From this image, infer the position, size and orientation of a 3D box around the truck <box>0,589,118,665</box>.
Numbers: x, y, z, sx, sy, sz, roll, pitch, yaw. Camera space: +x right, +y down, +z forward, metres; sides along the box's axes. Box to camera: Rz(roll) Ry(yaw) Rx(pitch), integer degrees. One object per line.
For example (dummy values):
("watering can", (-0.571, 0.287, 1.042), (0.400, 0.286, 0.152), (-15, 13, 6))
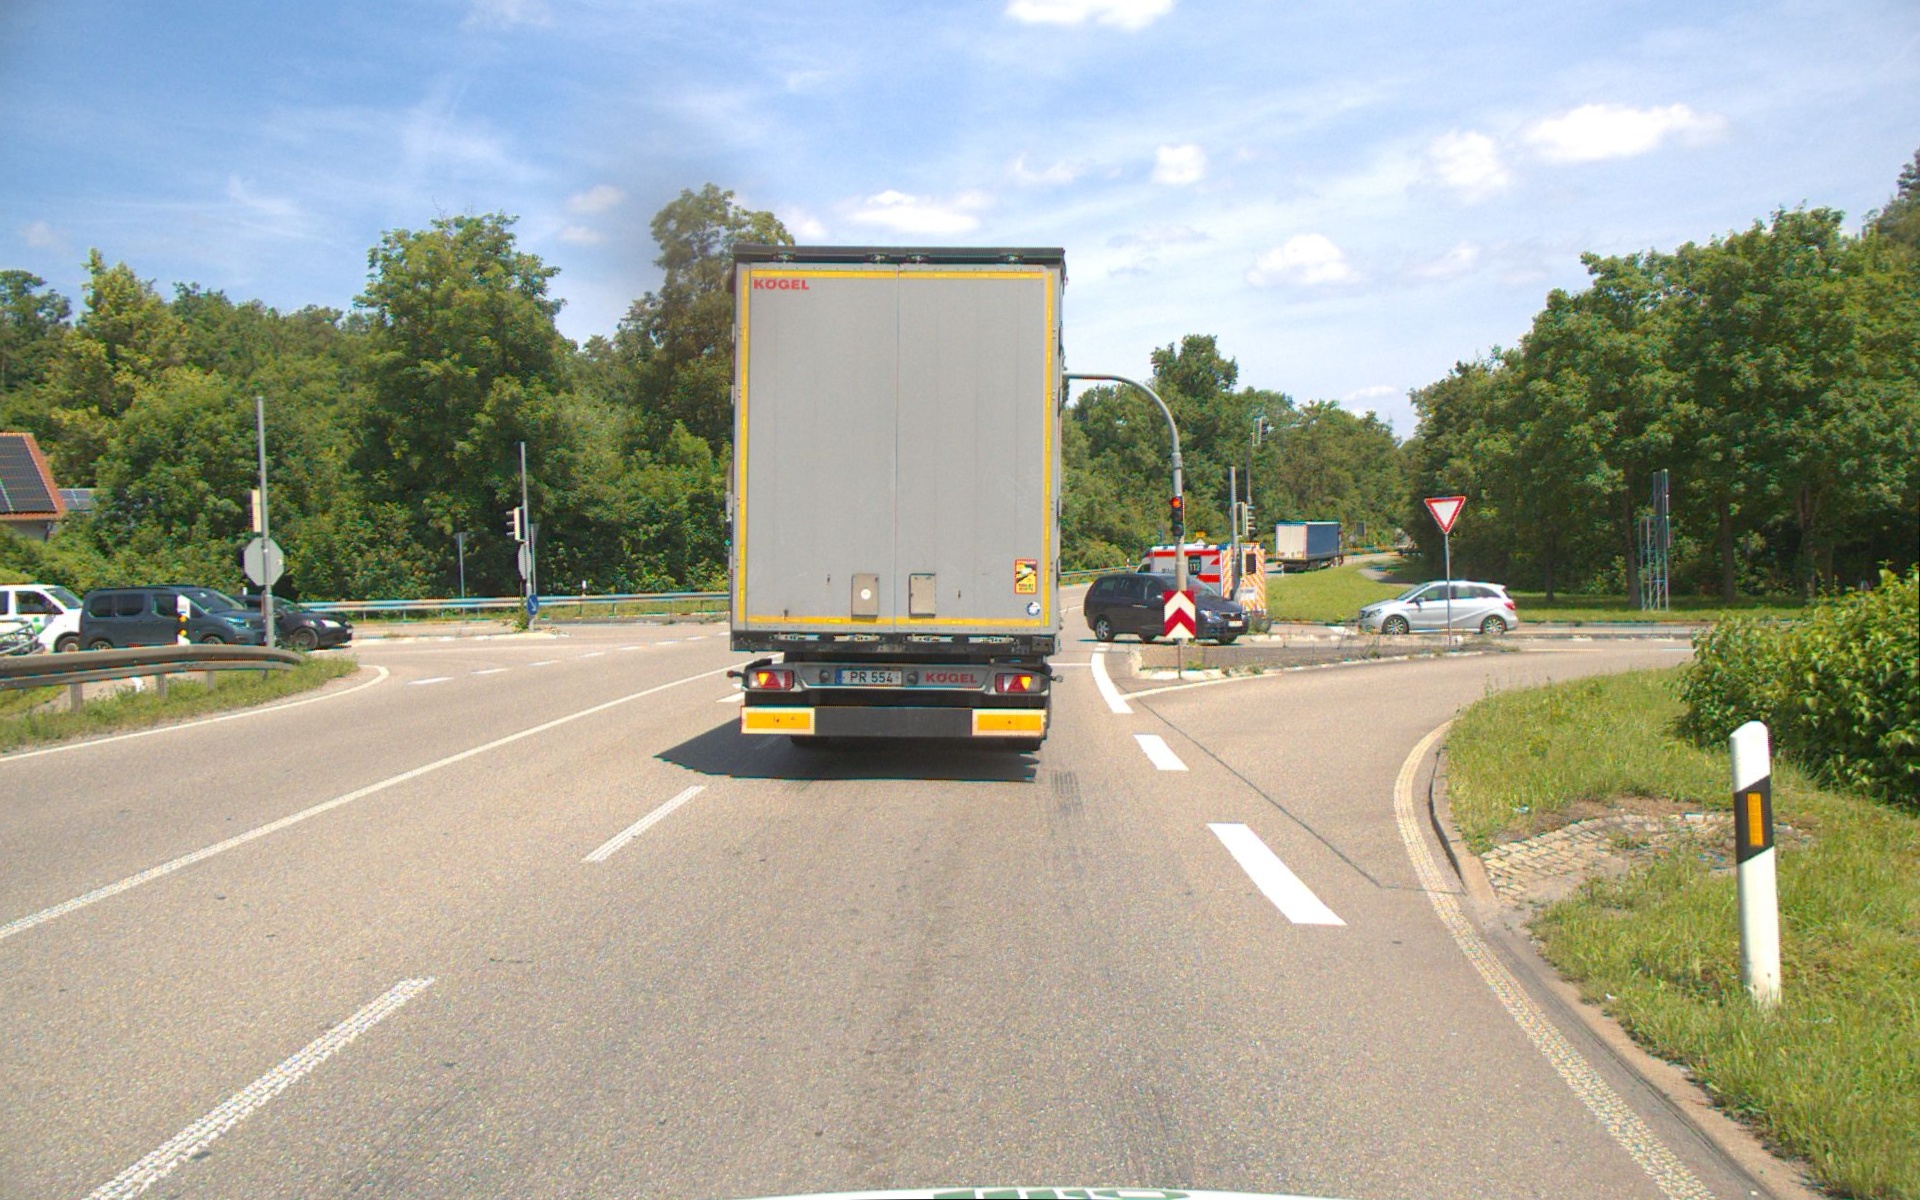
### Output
("truck", (-23.935, 0.662, 41.232), (4.791, 1.823, 2.037), (1, -2, -13))

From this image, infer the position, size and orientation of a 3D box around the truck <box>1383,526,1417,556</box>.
("truck", (47.940, -6.392, 180.062), (2.797, 2.999, 7.105), (0, 0, 21))

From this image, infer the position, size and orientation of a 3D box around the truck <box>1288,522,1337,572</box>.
("truck", (30.861, -4.633, 144.523), (3.105, 4.074, 5.813), (1, -1, 23))

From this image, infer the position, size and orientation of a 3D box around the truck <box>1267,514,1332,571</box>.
("truck", (28.682, -4.739, 139.344), (3.115, 4.100, 11.740), (1, -1, 23))

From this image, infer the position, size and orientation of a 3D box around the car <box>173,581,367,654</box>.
("car", (-17.619, 0.440, 42.303), (4.143, 1.801, 2.002), (0, 0, 9))

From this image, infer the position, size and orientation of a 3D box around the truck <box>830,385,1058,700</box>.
("truck", (-0.110, -0.780, 24.847), (2.975, 4.104, 6.631), (0, 0, 2))

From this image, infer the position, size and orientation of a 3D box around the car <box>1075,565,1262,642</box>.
("car", (5.197, 0.126, 41.915), (1.976, 1.816, 4.882), (2, -2, -34))

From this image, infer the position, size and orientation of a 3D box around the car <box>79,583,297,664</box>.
("car", (-17.768, 0.524, 38.170), (4.143, 1.801, 2.002), (0, 0, 9))

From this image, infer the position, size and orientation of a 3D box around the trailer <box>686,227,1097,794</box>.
("trailer", (-0.312, -0.708, 18.291), (2.988, 4.104, 12.562), (0, 0, 2))

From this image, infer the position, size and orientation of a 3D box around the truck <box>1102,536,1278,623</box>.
("truck", (7.849, -0.629, 56.981), (2.477, 2.775, 5.946), (2, -2, -39))

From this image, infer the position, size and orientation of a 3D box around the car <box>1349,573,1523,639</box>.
("car", (13.205, 0.181, 46.107), (4.334, 1.748, 2.001), (1, -2, 5))
